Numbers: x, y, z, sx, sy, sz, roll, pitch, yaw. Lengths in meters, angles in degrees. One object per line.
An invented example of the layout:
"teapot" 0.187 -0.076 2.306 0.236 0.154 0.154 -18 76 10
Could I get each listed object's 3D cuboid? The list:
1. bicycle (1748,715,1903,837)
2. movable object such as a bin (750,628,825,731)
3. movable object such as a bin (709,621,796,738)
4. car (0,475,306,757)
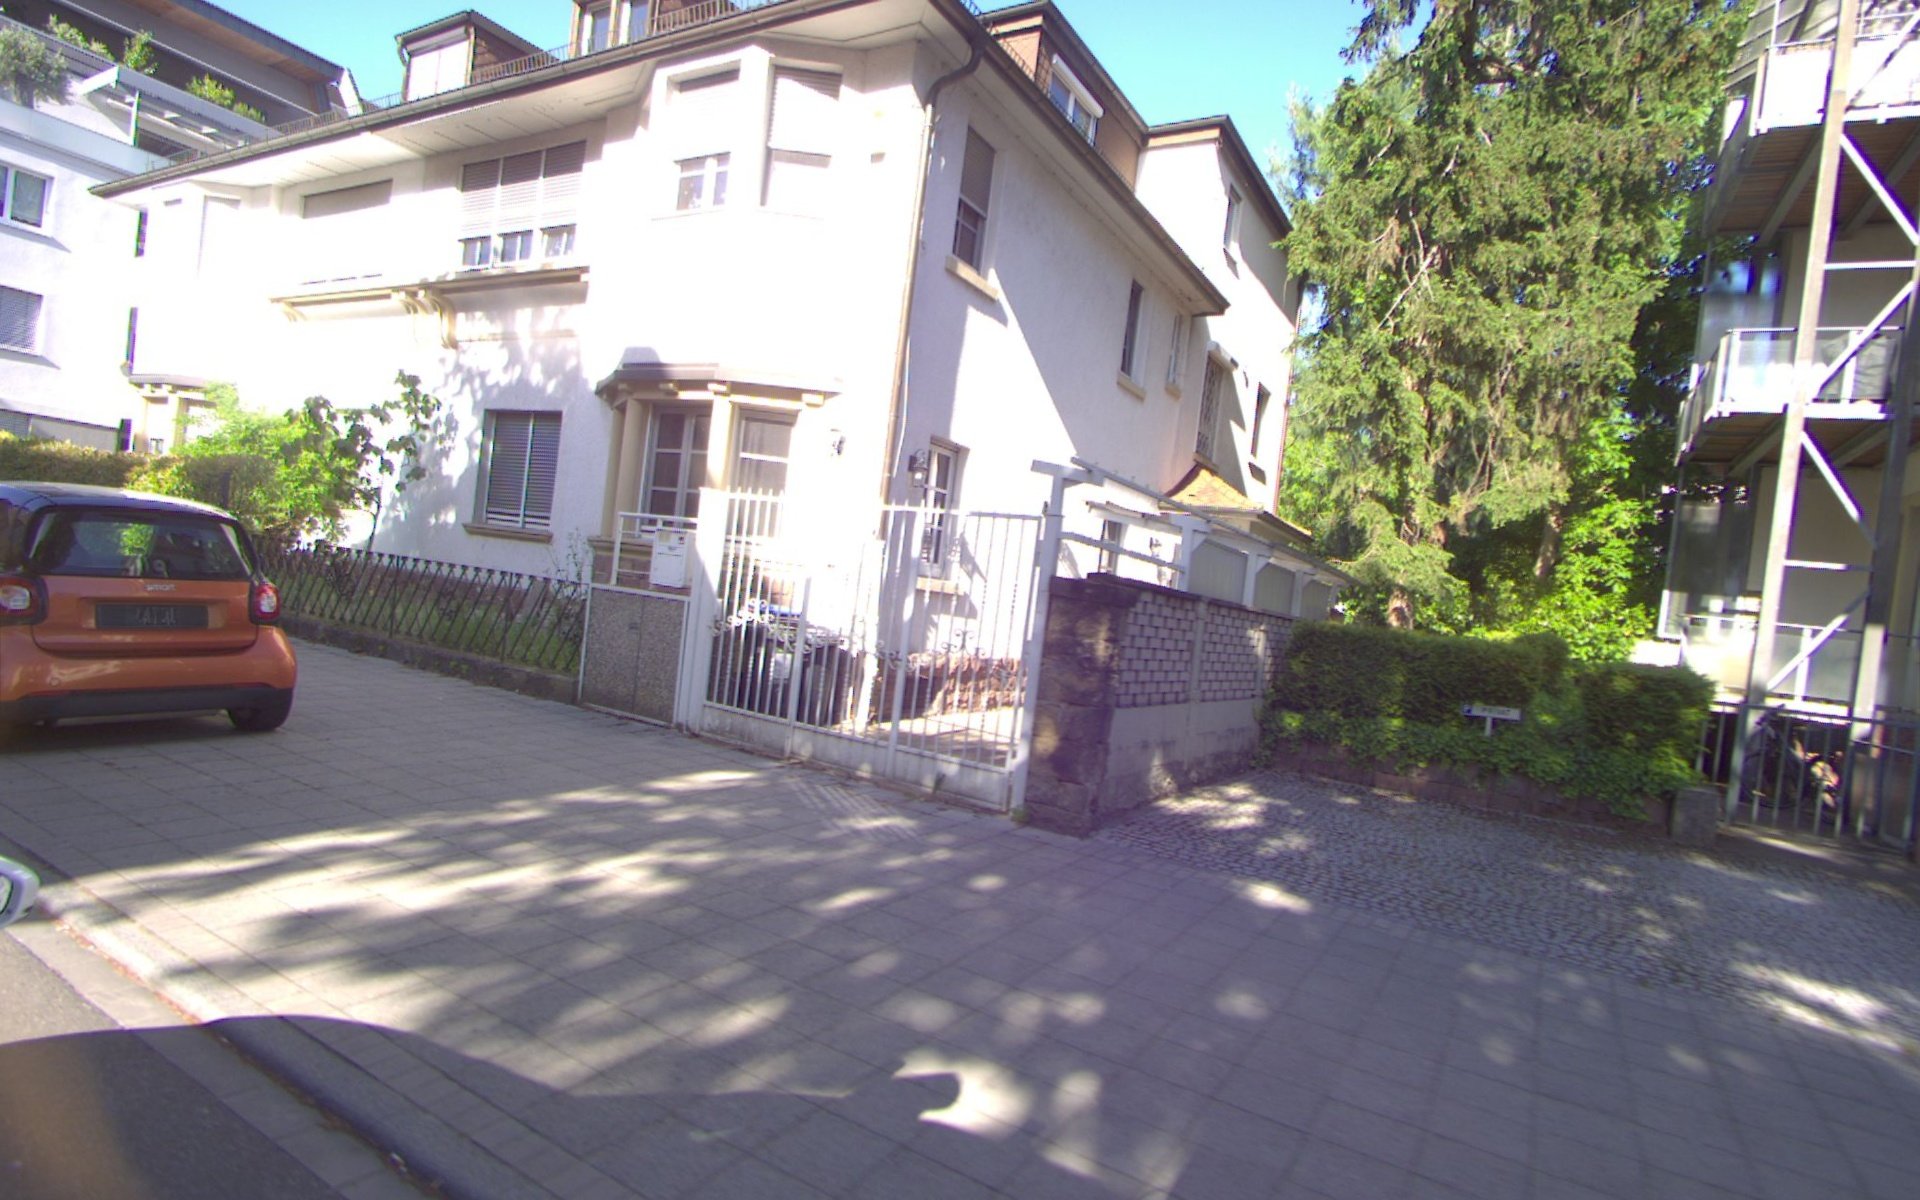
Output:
"bicycle" 9.368 1.864 10.973 0.357 1.014 1.915 6 0 13
"movable object such as a bin" -1.633 0.753 9.544 0.440 0.914 0.423 6 -1 31
"movable object such as a bin" -1.878 0.722 9.121 0.483 0.981 0.451 6 -1 31
"car" -6.112 -0.045 6.769 3.193 1.500 1.592 7 2 31
